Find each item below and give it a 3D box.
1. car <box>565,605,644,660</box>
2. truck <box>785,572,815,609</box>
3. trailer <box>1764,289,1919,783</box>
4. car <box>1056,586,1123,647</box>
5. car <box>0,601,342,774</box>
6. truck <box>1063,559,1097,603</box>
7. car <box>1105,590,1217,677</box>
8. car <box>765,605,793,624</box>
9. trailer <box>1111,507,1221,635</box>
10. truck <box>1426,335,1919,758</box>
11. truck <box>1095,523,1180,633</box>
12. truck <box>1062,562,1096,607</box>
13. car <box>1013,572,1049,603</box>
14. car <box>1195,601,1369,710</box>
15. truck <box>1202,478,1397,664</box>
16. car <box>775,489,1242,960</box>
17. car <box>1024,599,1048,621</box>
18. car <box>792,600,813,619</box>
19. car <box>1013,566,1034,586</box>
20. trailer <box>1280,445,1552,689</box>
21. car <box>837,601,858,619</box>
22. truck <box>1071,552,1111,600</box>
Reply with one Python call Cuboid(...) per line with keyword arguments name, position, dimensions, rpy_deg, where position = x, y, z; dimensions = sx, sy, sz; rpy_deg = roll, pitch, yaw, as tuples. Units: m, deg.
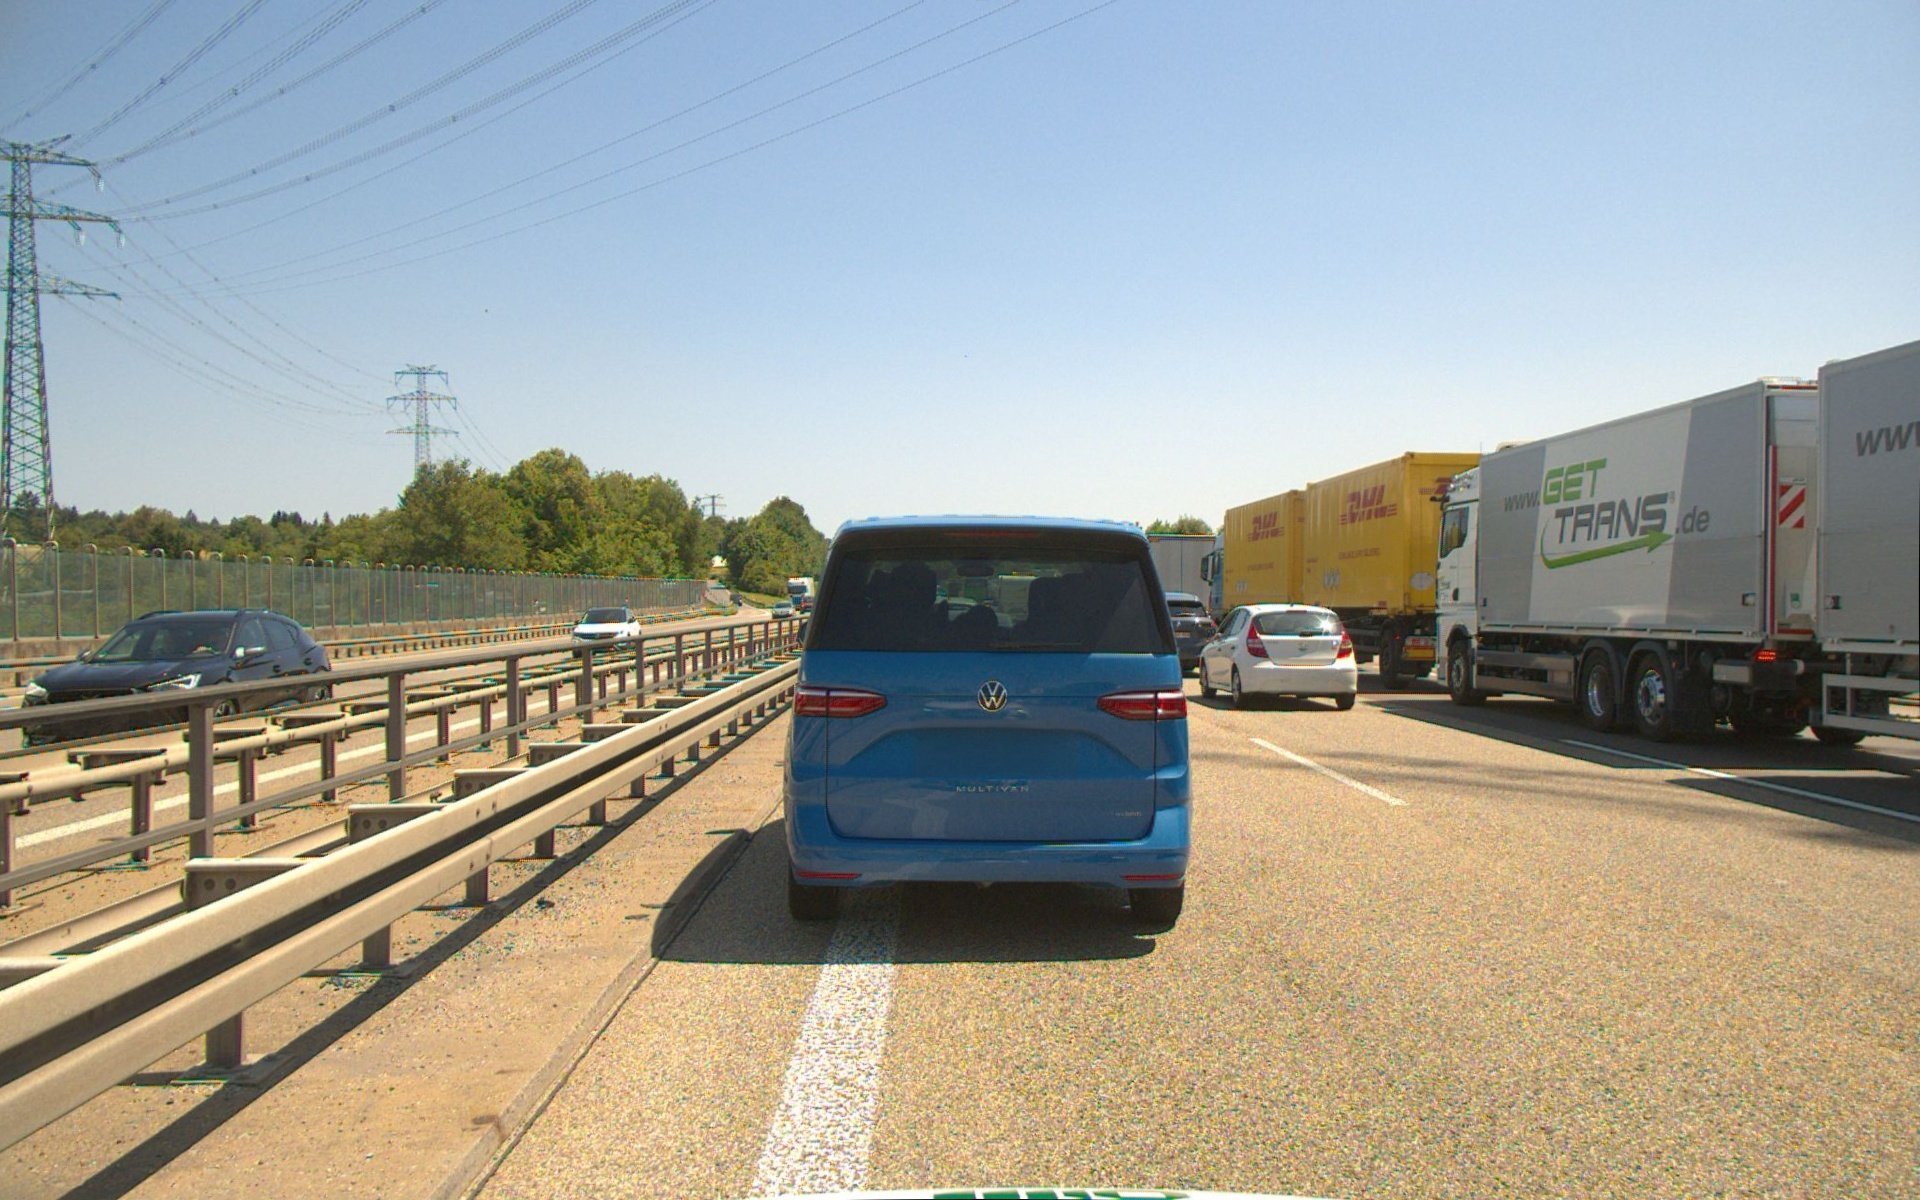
Cuboid(name="car", position=(-11.444, 1.029, 53.433), dimensions=(1.770, 1.668, 3.998), rpy_deg=(-2, -1, -2))
Cuboid(name="truck", position=(-19.888, -1.108, 205.644), dimensions=(2.869, 4.368, 6.857), rpy_deg=(-3, -1, 0))
Cuboid(name="trailer", position=(9.128, -0.511, 11.616), dimensions=(2.840, 3.959, 8.212), rpy_deg=(1, -1, -1))
Cuboid(name="car", position=(4.367, 0.576, 56.347), dimensions=(1.922, 1.970, 3.931), rpy_deg=(1, -1, -1))
Cuboid(name="car", position=(-8.198, 0.834, 17.483), dimensions=(1.844, 1.579, 4.188), rpy_deg=(1, -1, -2))
Cuboid(name="truck", position=(7.580, -1.191, 104.527), dimensions=(1.760, 2.641, 4.305), rpy_deg=(1, -1, 0))
Cuboid(name="car", position=(4.176, 0.687, 34.939), dimensions=(1.778, 1.708, 3.931), rpy_deg=(1, -1, -1))
Cuboid(name="car", position=(-14.762, 1.149, 135.091), dimensions=(1.834, 1.467, 4.384), rpy_deg=(-2, 0, -1))
Cuboid(name="trailer", position=(8.078, -1.015, 66.342), dimensions=(2.964, 4.692, 10.923), rpy_deg=(1, -1, 0))
Cuboid(name="truck", position=(8.928, -0.448, 21.061), dimensions=(2.794, 4.003, 10.607), rpy_deg=(1, -1, -1))
Cuboid(name="truck", position=(8.035, -0.918, 75.768), dimensions=(2.964, 4.692, 7.920), rpy_deg=(1, -1, 0))
Cuboid(name="truck", position=(7.117, -0.926, 99.269), dimensions=(1.706, 2.593, 4.209), rpy_deg=(1, -1, 0))
Cuboid(name="car", position=(4.226, -0.745, 98.851), dimensions=(1.880, 1.736, 3.999), rpy_deg=(1, -1, -1))
Cuboid(name="car", position=(4.782, 0.792, 25.056), dimensions=(1.778, 1.496, 3.931), rpy_deg=(1, -1, -1))
Cuboid(name="truck", position=(8.425, -0.610, 42.388), dimensions=(2.645, 4.159, 9.936), rpy_deg=(1, -1, -2))
Cuboid(name="car", position=(0.182, 0.532, 8.809), dimensions=(1.891, 1.906, 3.999), rpy_deg=(1, -1, -1))
Cuboid(name="car", position=(6.268, 0.811, 136.362), dimensions=(1.760, 1.782, 3.942), rpy_deg=(1, -1, 0))
Cuboid(name="car", position=(-15.835, 0.970, 166.273), dimensions=(1.802, 1.854, 4.746), rpy_deg=(-1, -1, -1))
Cuboid(name="car", position=(5.842, -2.190, 152.085), dimensions=(1.760, 1.782, 3.942), rpy_deg=(1, -1, 0))
Cuboid(name="trailer", position=(8.739, -0.525, 32.997), dimensions=(2.628, 4.159, 8.976), rpy_deg=(1, -1, -2))
Cuboid(name="car", position=(-11.381, 0.991, 167.191), dimensions=(1.834, 1.556, 3.607), rpy_deg=(-5, 0, -1))
Cuboid(name="truck", position=(7.160, -1.263, 90.479), dimensions=(1.761, 2.492, 4.503), rpy_deg=(1, -1, 0))
